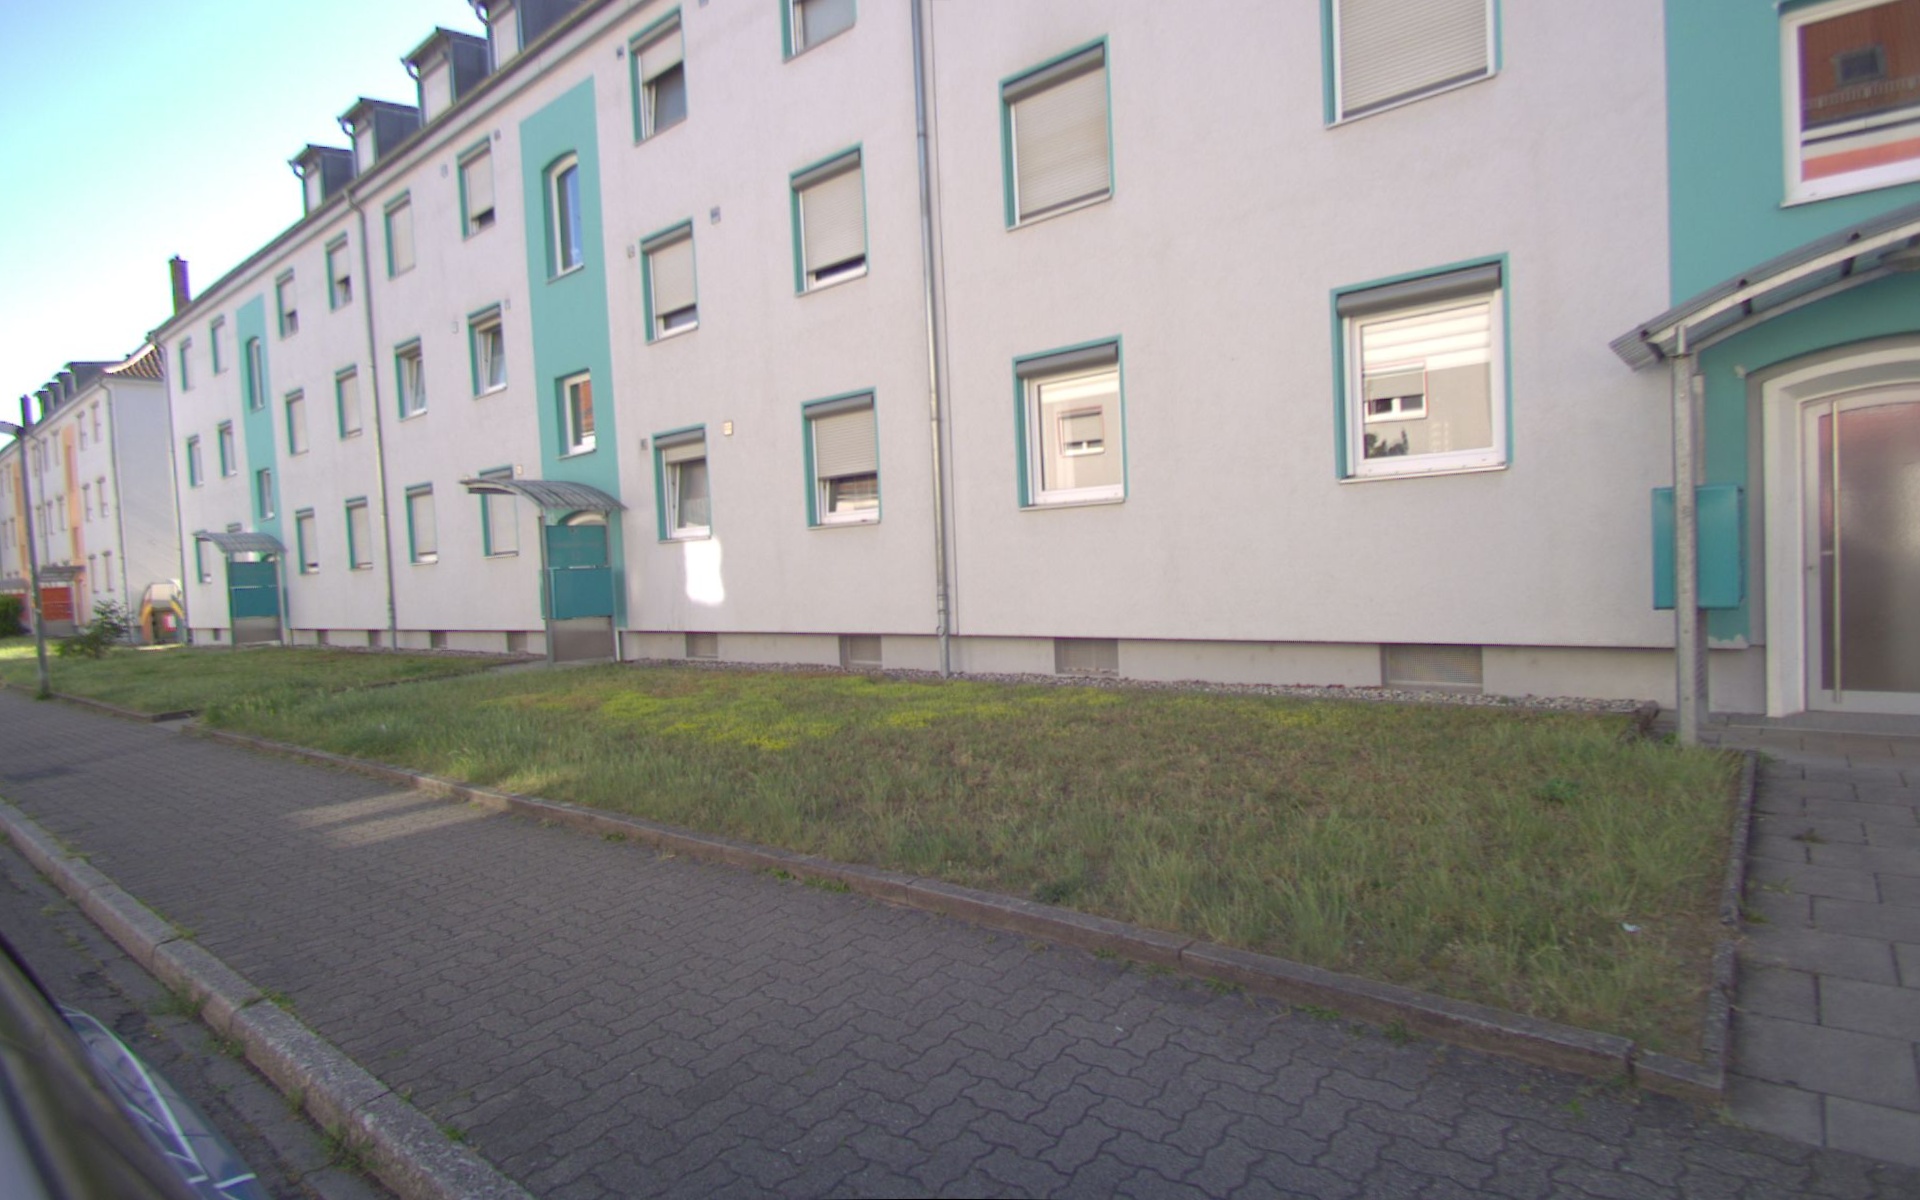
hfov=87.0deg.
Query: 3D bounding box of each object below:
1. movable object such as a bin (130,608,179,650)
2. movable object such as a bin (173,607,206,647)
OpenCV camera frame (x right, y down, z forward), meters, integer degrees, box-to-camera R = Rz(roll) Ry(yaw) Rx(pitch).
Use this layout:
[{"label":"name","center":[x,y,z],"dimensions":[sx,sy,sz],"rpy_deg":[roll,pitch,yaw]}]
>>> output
[{"label":"movable object such as a bin","center":[-28.839,1.021,36.223],"dimensions":[0.877,1.403,1.152],"rpy_deg":[-2,2,40]},{"label":"movable object such as a bin","center":[-28.193,0.970,37.039],"dimensions":[0.762,1.403,0.744],"rpy_deg":[-2,2,40]}]
